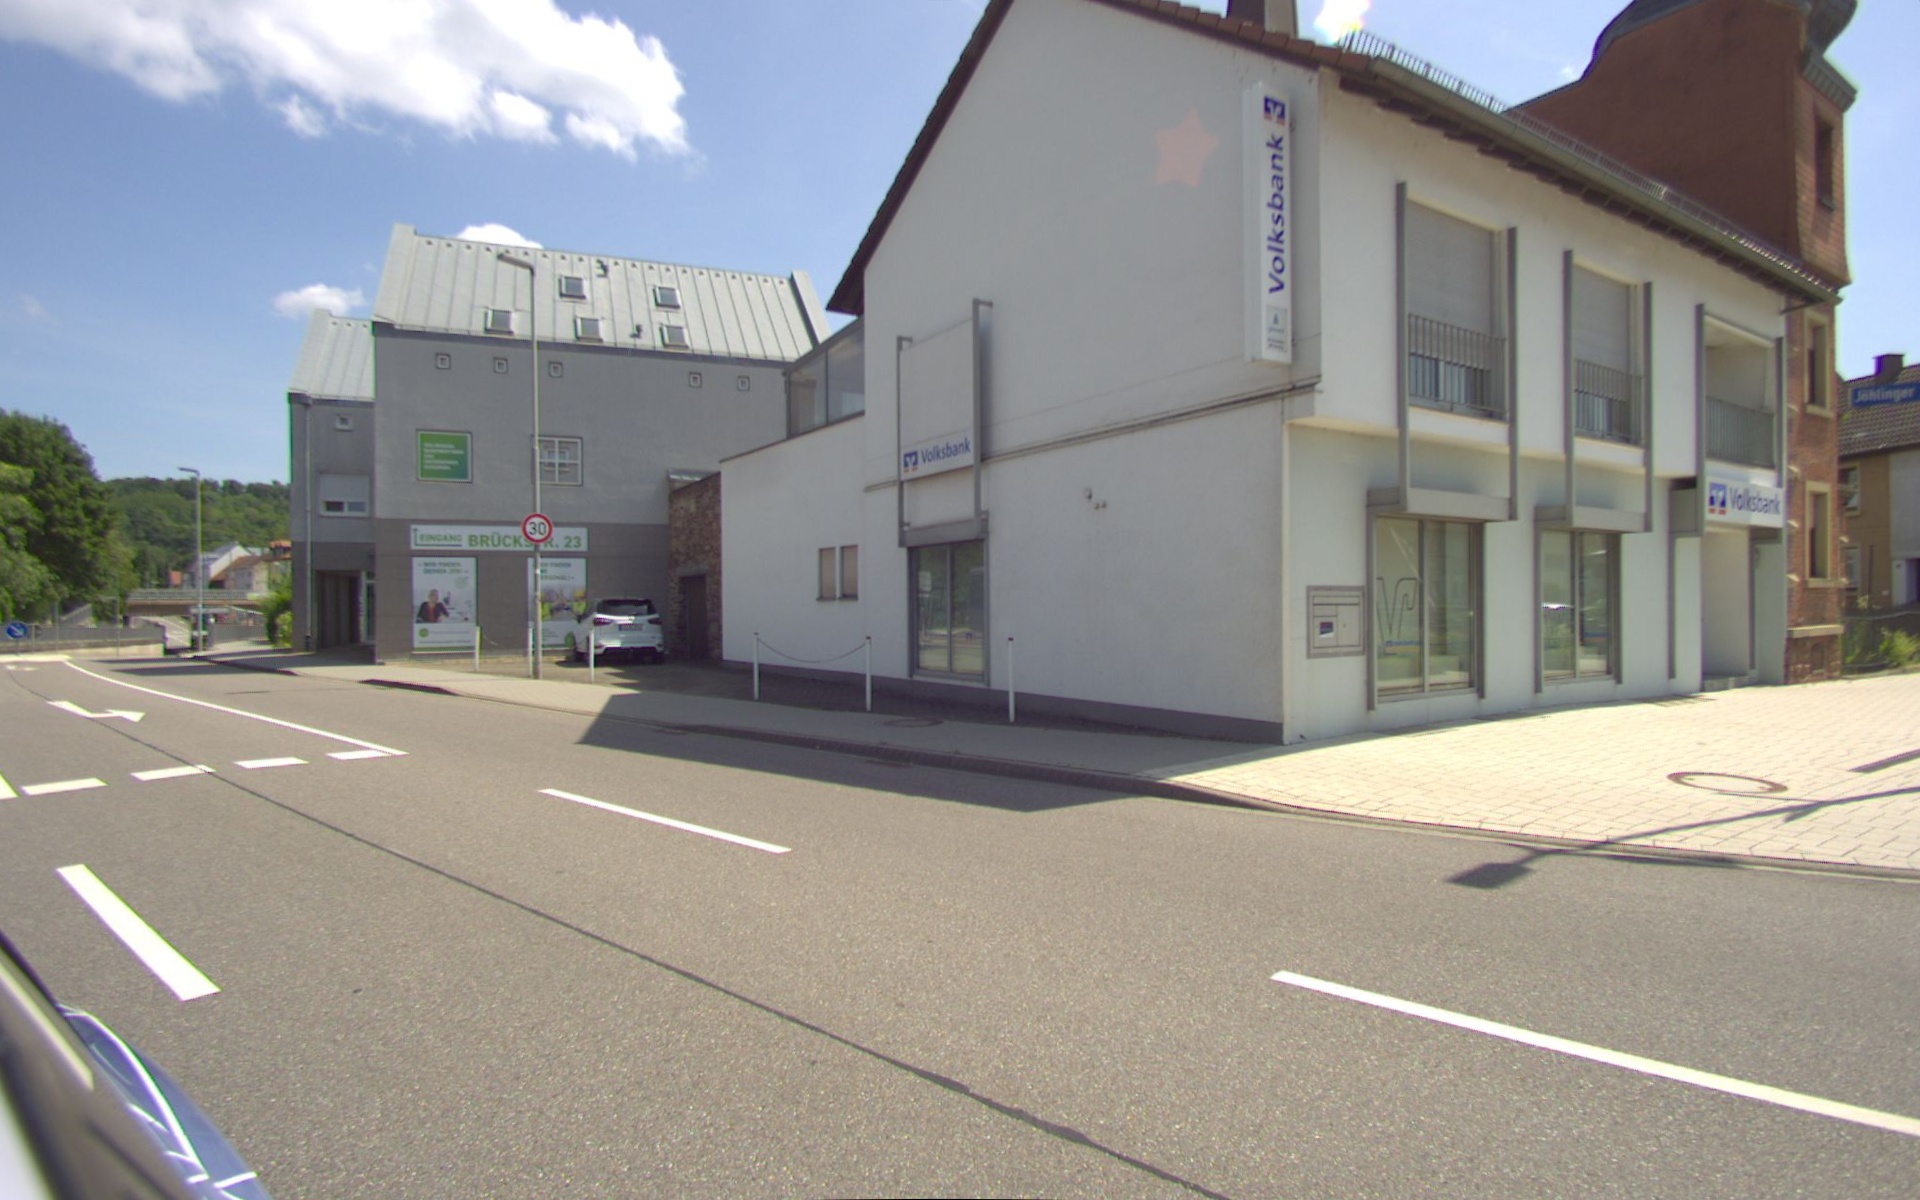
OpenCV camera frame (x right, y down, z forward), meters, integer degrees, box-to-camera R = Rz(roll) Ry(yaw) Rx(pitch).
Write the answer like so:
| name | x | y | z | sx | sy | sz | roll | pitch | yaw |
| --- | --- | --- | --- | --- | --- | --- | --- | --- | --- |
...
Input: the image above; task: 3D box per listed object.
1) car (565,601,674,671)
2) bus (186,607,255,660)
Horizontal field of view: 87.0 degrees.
| name | x | y | z | sx | sy | sz | roll | pitch | yaw |
| --- | --- | --- | --- | --- | --- | --- | --- | --- | --- |
| car | -8.557 | 0.861 | 25.209 | 1.965 | 1.587 | 4.266 | 1 | -2 | -27 |
| bus | -61.259 | 2.836 | 84.104 | 2.771 | 4.032 | 11.001 | -1 | -2 | -26 |
